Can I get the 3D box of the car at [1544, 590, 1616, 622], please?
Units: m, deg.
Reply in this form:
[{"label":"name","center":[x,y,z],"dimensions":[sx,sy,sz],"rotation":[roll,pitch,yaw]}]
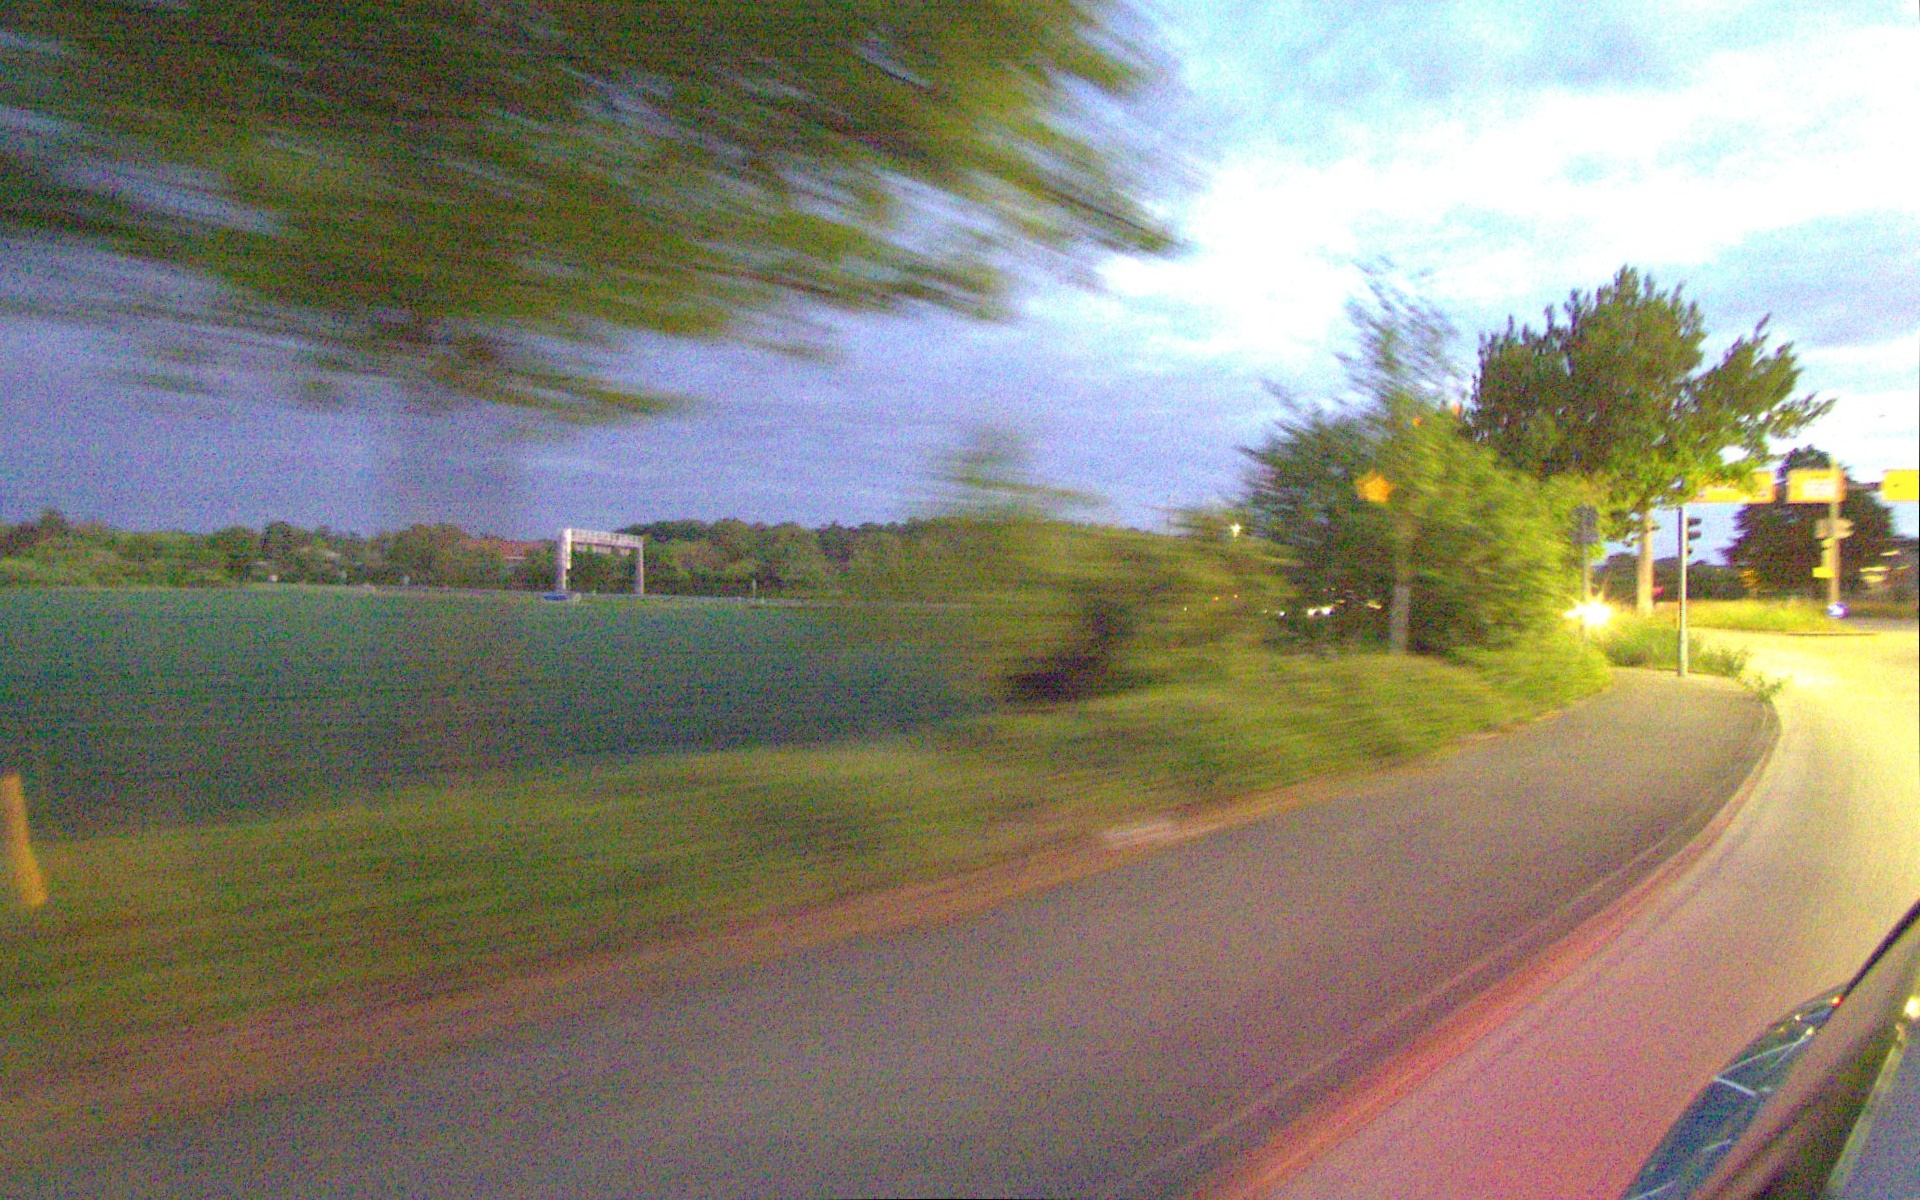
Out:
[{"label":"car","center":[33.340,0.308,54.586],"dimensions":[1.643,1.674,4.401],"rotation":[-1,0,8]}]
